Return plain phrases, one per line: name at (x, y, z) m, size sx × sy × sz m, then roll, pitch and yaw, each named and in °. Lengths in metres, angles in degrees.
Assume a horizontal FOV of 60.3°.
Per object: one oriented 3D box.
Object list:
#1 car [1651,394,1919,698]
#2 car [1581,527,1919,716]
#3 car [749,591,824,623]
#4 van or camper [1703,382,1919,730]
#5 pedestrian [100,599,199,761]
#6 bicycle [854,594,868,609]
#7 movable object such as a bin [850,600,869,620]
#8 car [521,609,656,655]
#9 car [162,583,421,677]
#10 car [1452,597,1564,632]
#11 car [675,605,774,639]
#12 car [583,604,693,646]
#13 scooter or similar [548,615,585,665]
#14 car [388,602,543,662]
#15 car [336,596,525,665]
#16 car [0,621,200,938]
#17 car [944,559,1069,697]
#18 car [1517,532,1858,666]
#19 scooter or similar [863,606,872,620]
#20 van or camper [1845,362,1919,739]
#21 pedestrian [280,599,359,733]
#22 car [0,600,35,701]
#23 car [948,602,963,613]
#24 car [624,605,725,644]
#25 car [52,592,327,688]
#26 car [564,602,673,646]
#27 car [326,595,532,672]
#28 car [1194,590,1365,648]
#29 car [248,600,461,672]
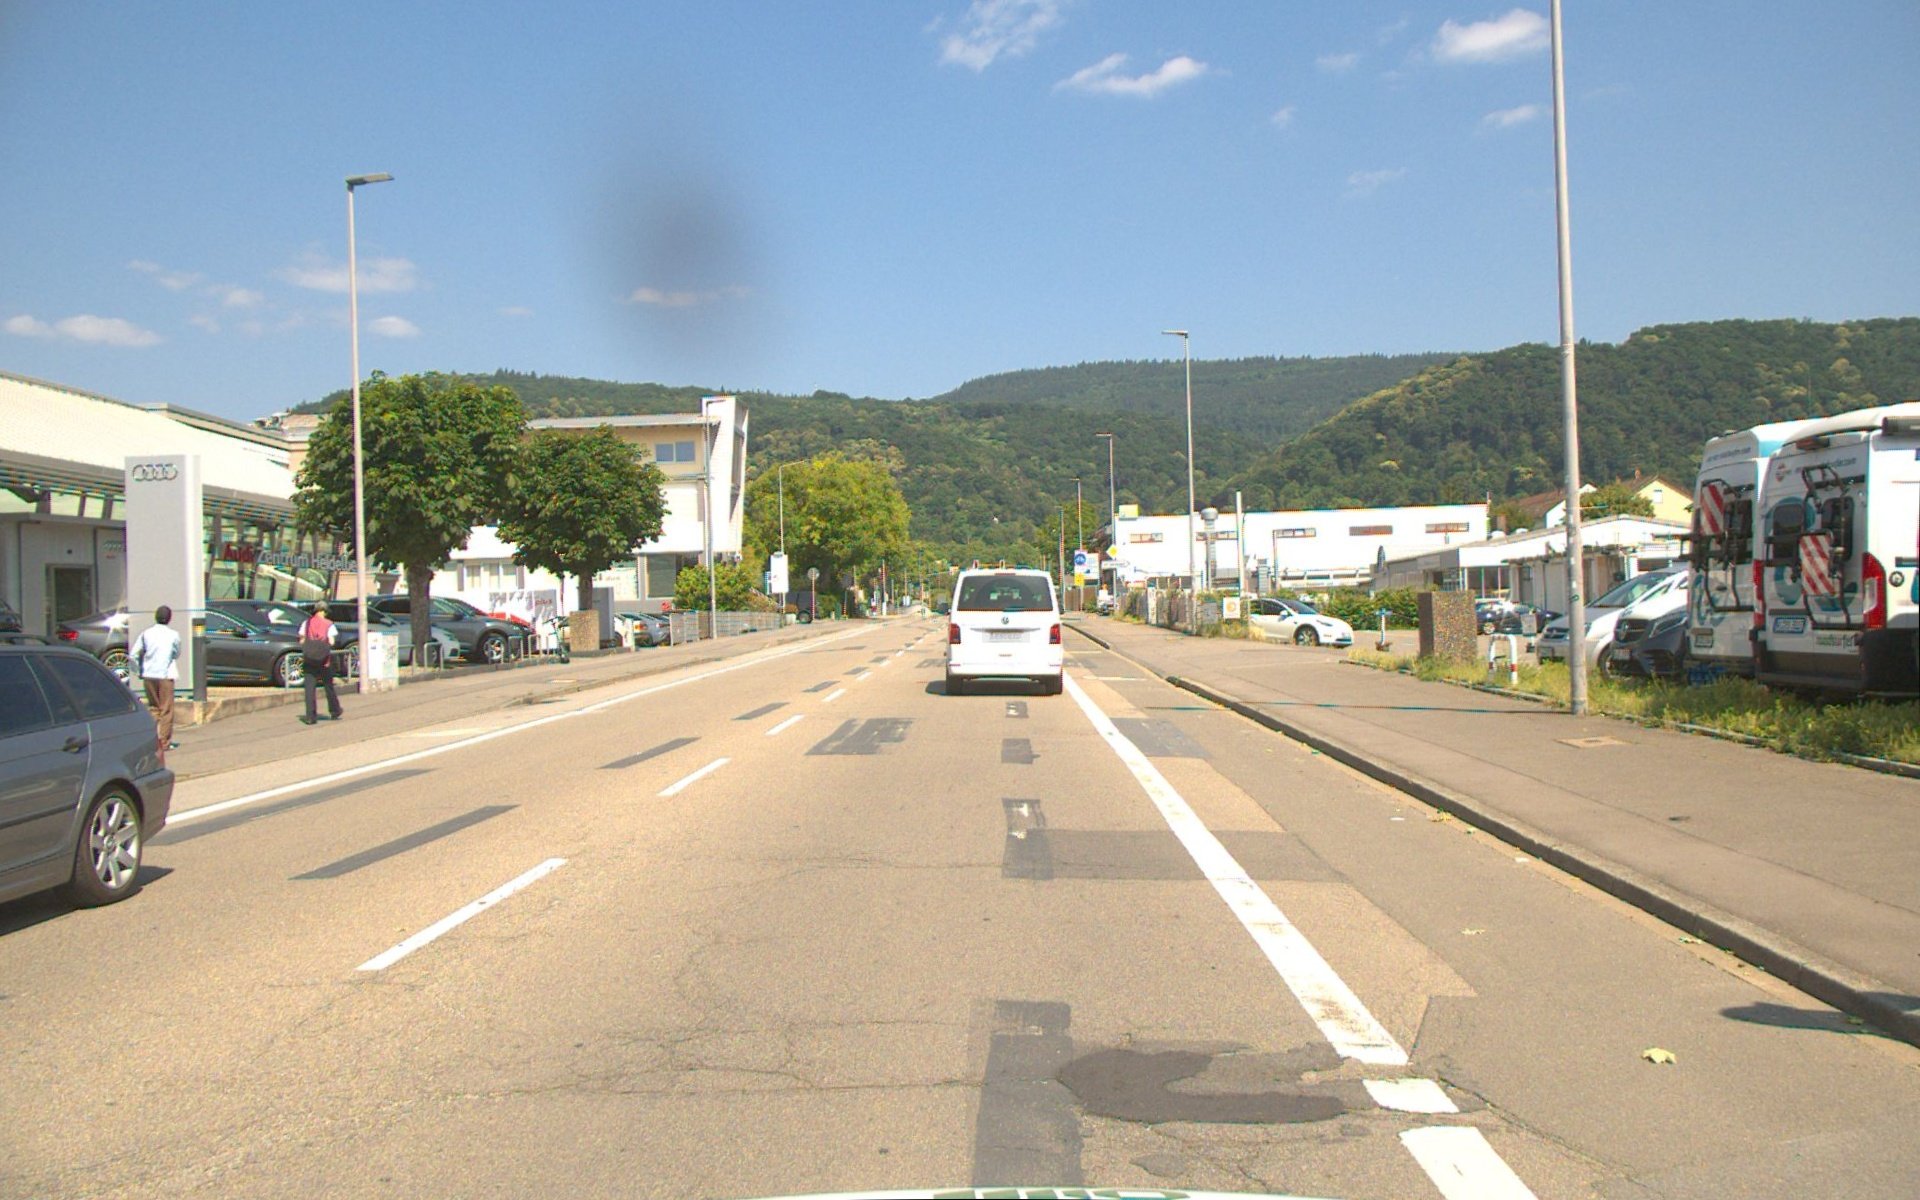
car at (10.833, -0.619, 17.373) m, size 6.099 × 2.919 × 2.320 m, roll -2°, pitch 0°, yaw 1°
car at (10.407, 0.190, 19.784) m, size 5.126 × 1.986 × 2.000 m, roll -3°, pitch 0°, yaw 1°
car at (-10.763, 0.436, 102.693) m, size 4.476 × 1.898 × 2.091 m, roll -1°, pitch 0°, yaw -4°
van or camper at (10.258, -0.461, 14.481) m, size 6.218 × 2.747 × 2.713 m, roll -2°, pitch 0°, yaw 1°
pedestrian at (-9.789, 0.944, 20.006) m, size 0.708 × 1.881 × 0.911 m, roll -2°, pitch 0°, yaw -3°
bicycle at (-7.799, 0.147, 130.609) m, size 1.006 × 1.137 × 2.765 m, roll 1°, pitch 0°, yaw -2°
movable object such as a bin at (-8.520, 0.828, 140.089) m, size 1.421 × 1.618 × 1.305 m, roll -3°, pitch 0°, yaw -7°
car at (-13.453, 1.144, 60.049) m, size 4.432 × 1.483 × 1.900 m, roll -2°, pitch 0°, yaw -1°
car at (-13.258, 0.606, 32.891) m, size 4.429 × 1.636 × 1.943 m, roll 2°, pitch 2°, yaw -35°
car at (23.831, 0.621, 72.008) m, size 4.237 × 1.422 × 2.120 m, roll -2°, pitch 0°, yaw 5°
car at (-11.759, 1.080, 82.825) m, size 4.642 × 1.507 × 2.048 m, roll -2°, pitch 0°, yaw 0°
car at (-12.603, 0.991, 64.829) m, size 3.906 × 1.469 × 1.858 m, roll 2°, pitch -3°, yaw -1°
scooter or similar at (-10.252, 1.027, 43.093) m, size 0.729 × 1.269 × 1.488 m, roll -1°, pitch 0°, yaw -7°
car at (-14.144, 0.892, 47.372) m, size 3.944 × 1.577 × 1.841 m, roll -1°, pitch 0°, yaw -30°
car at (-13.938, 0.783, 43.599) m, size 4.428 × 1.738 × 1.888 m, roll 0°, pitch -1°, yaw -35°
car at (-5.269, 0.885, 7.371) m, size 1.706 × 1.429 × 4.324 m, roll -4°, pitch 0°, yaw 0°
car at (0.704, 0.440, 27.646) m, size 1.895 × 2.096 × 4.544 m, roll 1°, pitch 0°, yaw 0°
car at (9.852, -0.011, 22.617) m, size 3.841 × 1.621 × 1.798 m, roll -2°, pitch 0°, yaw 1°
scooter or similar at (-7.528, 1.030, 134.193) m, size 0.634 × 1.147 × 1.621 m, roll 1°, pitch 0°, yaw -5°
van or camper at (10.141, -0.474, 11.706) m, size 6.218 × 2.763 × 2.713 m, roll -2°, pitch 0°, yaw 1°
pedestrian at (-9.453, 0.954, 24.429) m, size 0.718 × 1.900 × 1.047 m, roll -2°, pitch 0°, yaw -2°
car at (-17.539, 0.849, 28.063) m, size 1.960 × 1.749 × 4.715 m, roll 2°, pitch -1°, yaw -14°
car at (-0.614, 1.015, 227.169) m, size 1.952 × 1.394 × 4.327 m, roll -3°, pitch 0°, yaw 2°
car at (-12.879, 1.083, 74.802) m, size 4.210 × 1.586 × 1.994 m, roll -2°, pitch 0°, yaw -3°
car at (-13.573, 0.735, 29.208) m, size 4.111 × 1.485 × 1.885 m, roll 4°, pitch -3°, yaw -34°
car at (-12.842, 0.909, 62.426) m, size 3.816 × 1.470 × 1.820 m, roll 2°, pitch -3°, yaw -7°
car at (-13.053, 0.786, 40.761) m, size 4.526 × 1.726 × 1.837 m, roll -1°, pitch 0°, yaw -35°
car at (9.921, 0.627, 51.577) m, size 4.961 × 1.650 × 2.010 m, roll -1°, pitch -5°, yaw 44°
car at (-13.421, 0.778, 36.754) m, size 4.153 × 1.521 × 1.852 m, roll 0°, pitch -1°, yaw -35°
